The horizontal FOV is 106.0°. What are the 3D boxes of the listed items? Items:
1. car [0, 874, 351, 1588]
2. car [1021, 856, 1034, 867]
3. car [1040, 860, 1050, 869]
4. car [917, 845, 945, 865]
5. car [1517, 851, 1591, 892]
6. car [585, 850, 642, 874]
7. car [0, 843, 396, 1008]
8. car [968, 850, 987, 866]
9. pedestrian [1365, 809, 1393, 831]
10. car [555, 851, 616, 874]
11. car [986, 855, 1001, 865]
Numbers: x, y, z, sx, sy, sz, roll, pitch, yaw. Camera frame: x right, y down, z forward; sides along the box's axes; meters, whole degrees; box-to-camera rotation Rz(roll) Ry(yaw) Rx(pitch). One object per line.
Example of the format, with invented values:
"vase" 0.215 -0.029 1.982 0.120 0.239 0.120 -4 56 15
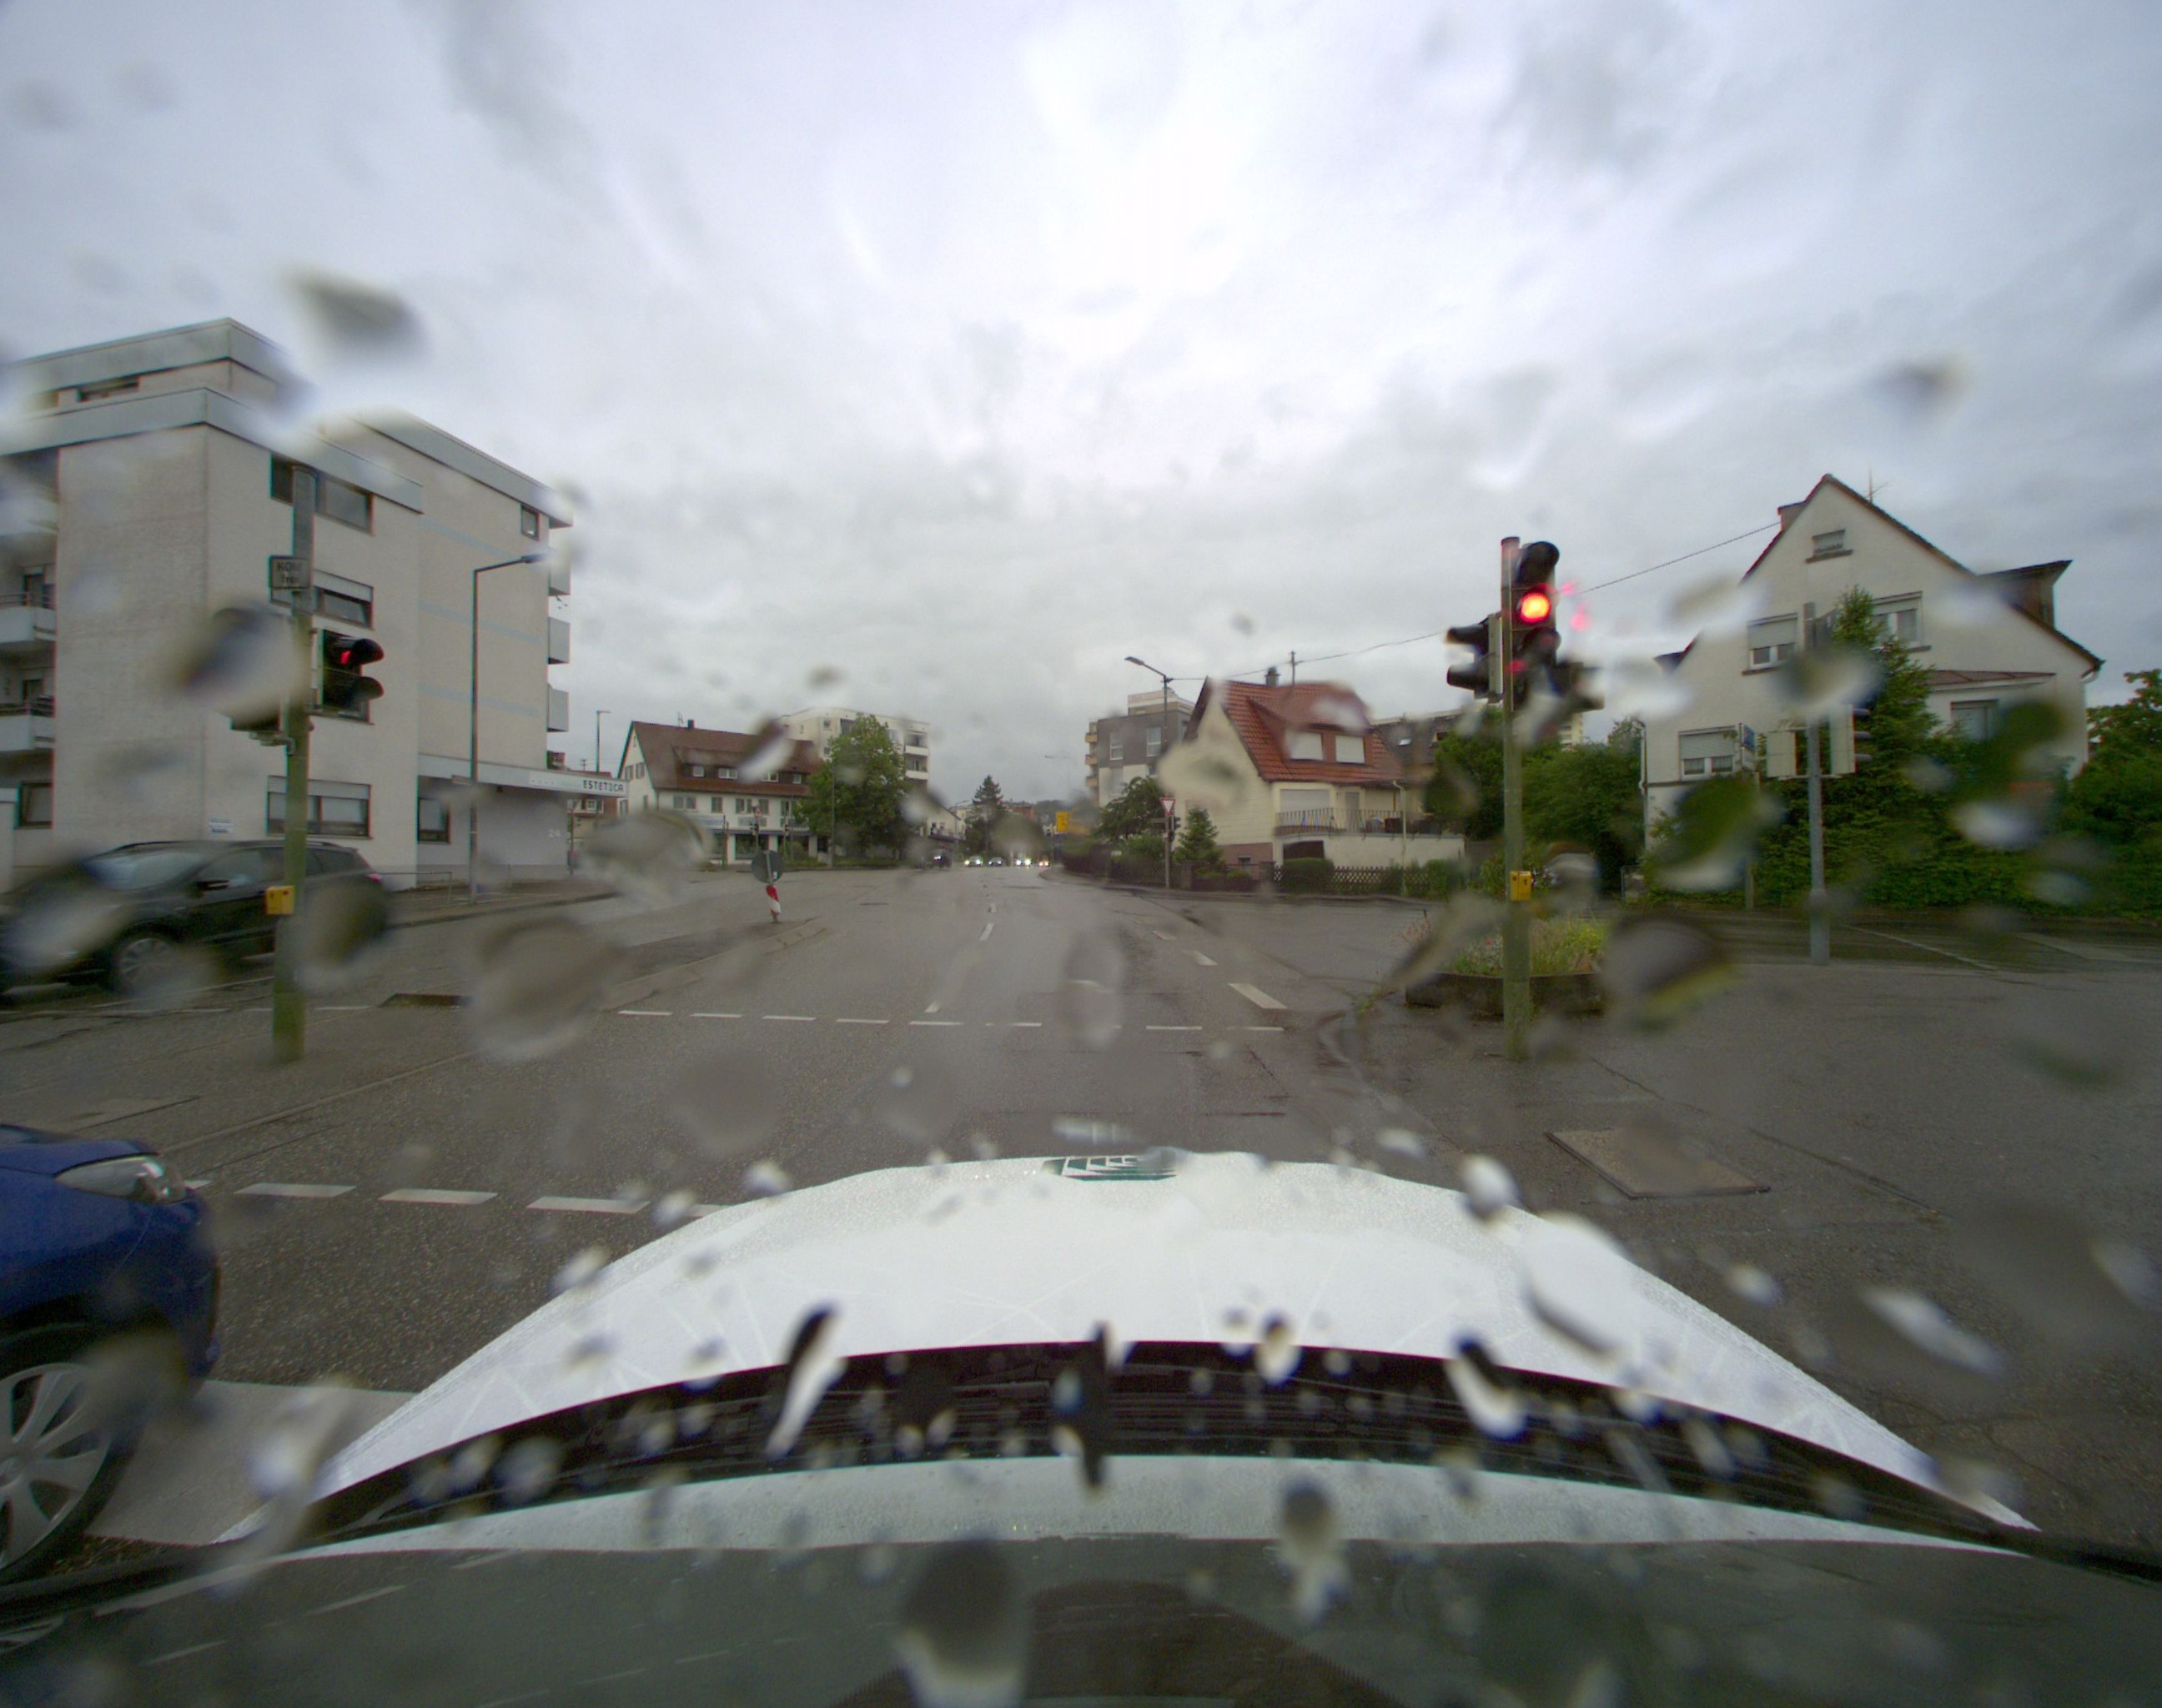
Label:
"car" -2.958 0.779 0.731 1.499 1.413 3.365 0 0 2
"car" -8.490 1.159 129.818 1.989 1.679 3.996 0 -1 -3
"car" -7.421 2.095 169.187 1.989 1.812 3.996 0 -1 -3
"car" -13.997 0.126 76.200 1.990 1.737 5.173 0 0 -4
"car" 17.102 0.590 29.378 1.794 1.362 4.025 -1 -1 37
"car" -38.454 0.630 66.981 3.706 1.920 1.864 0 -1 -44
"car" -11.095 0.706 10.002 1.874 1.597 4.181 -1 0 -2
"car" -12.673 0.478 99.580 1.989 1.904 3.996 0 -1 -3
"pedestrian" 12.761 -1.441 34.863 0.918 0.883 0.632 0 -3 -18
"car" -41.228 0.669 67.804 4.093 1.843 1.864 0 -1 -44
"car" -12.975 0.872 121.000 1.989 1.463 3.996 0 0 -3
